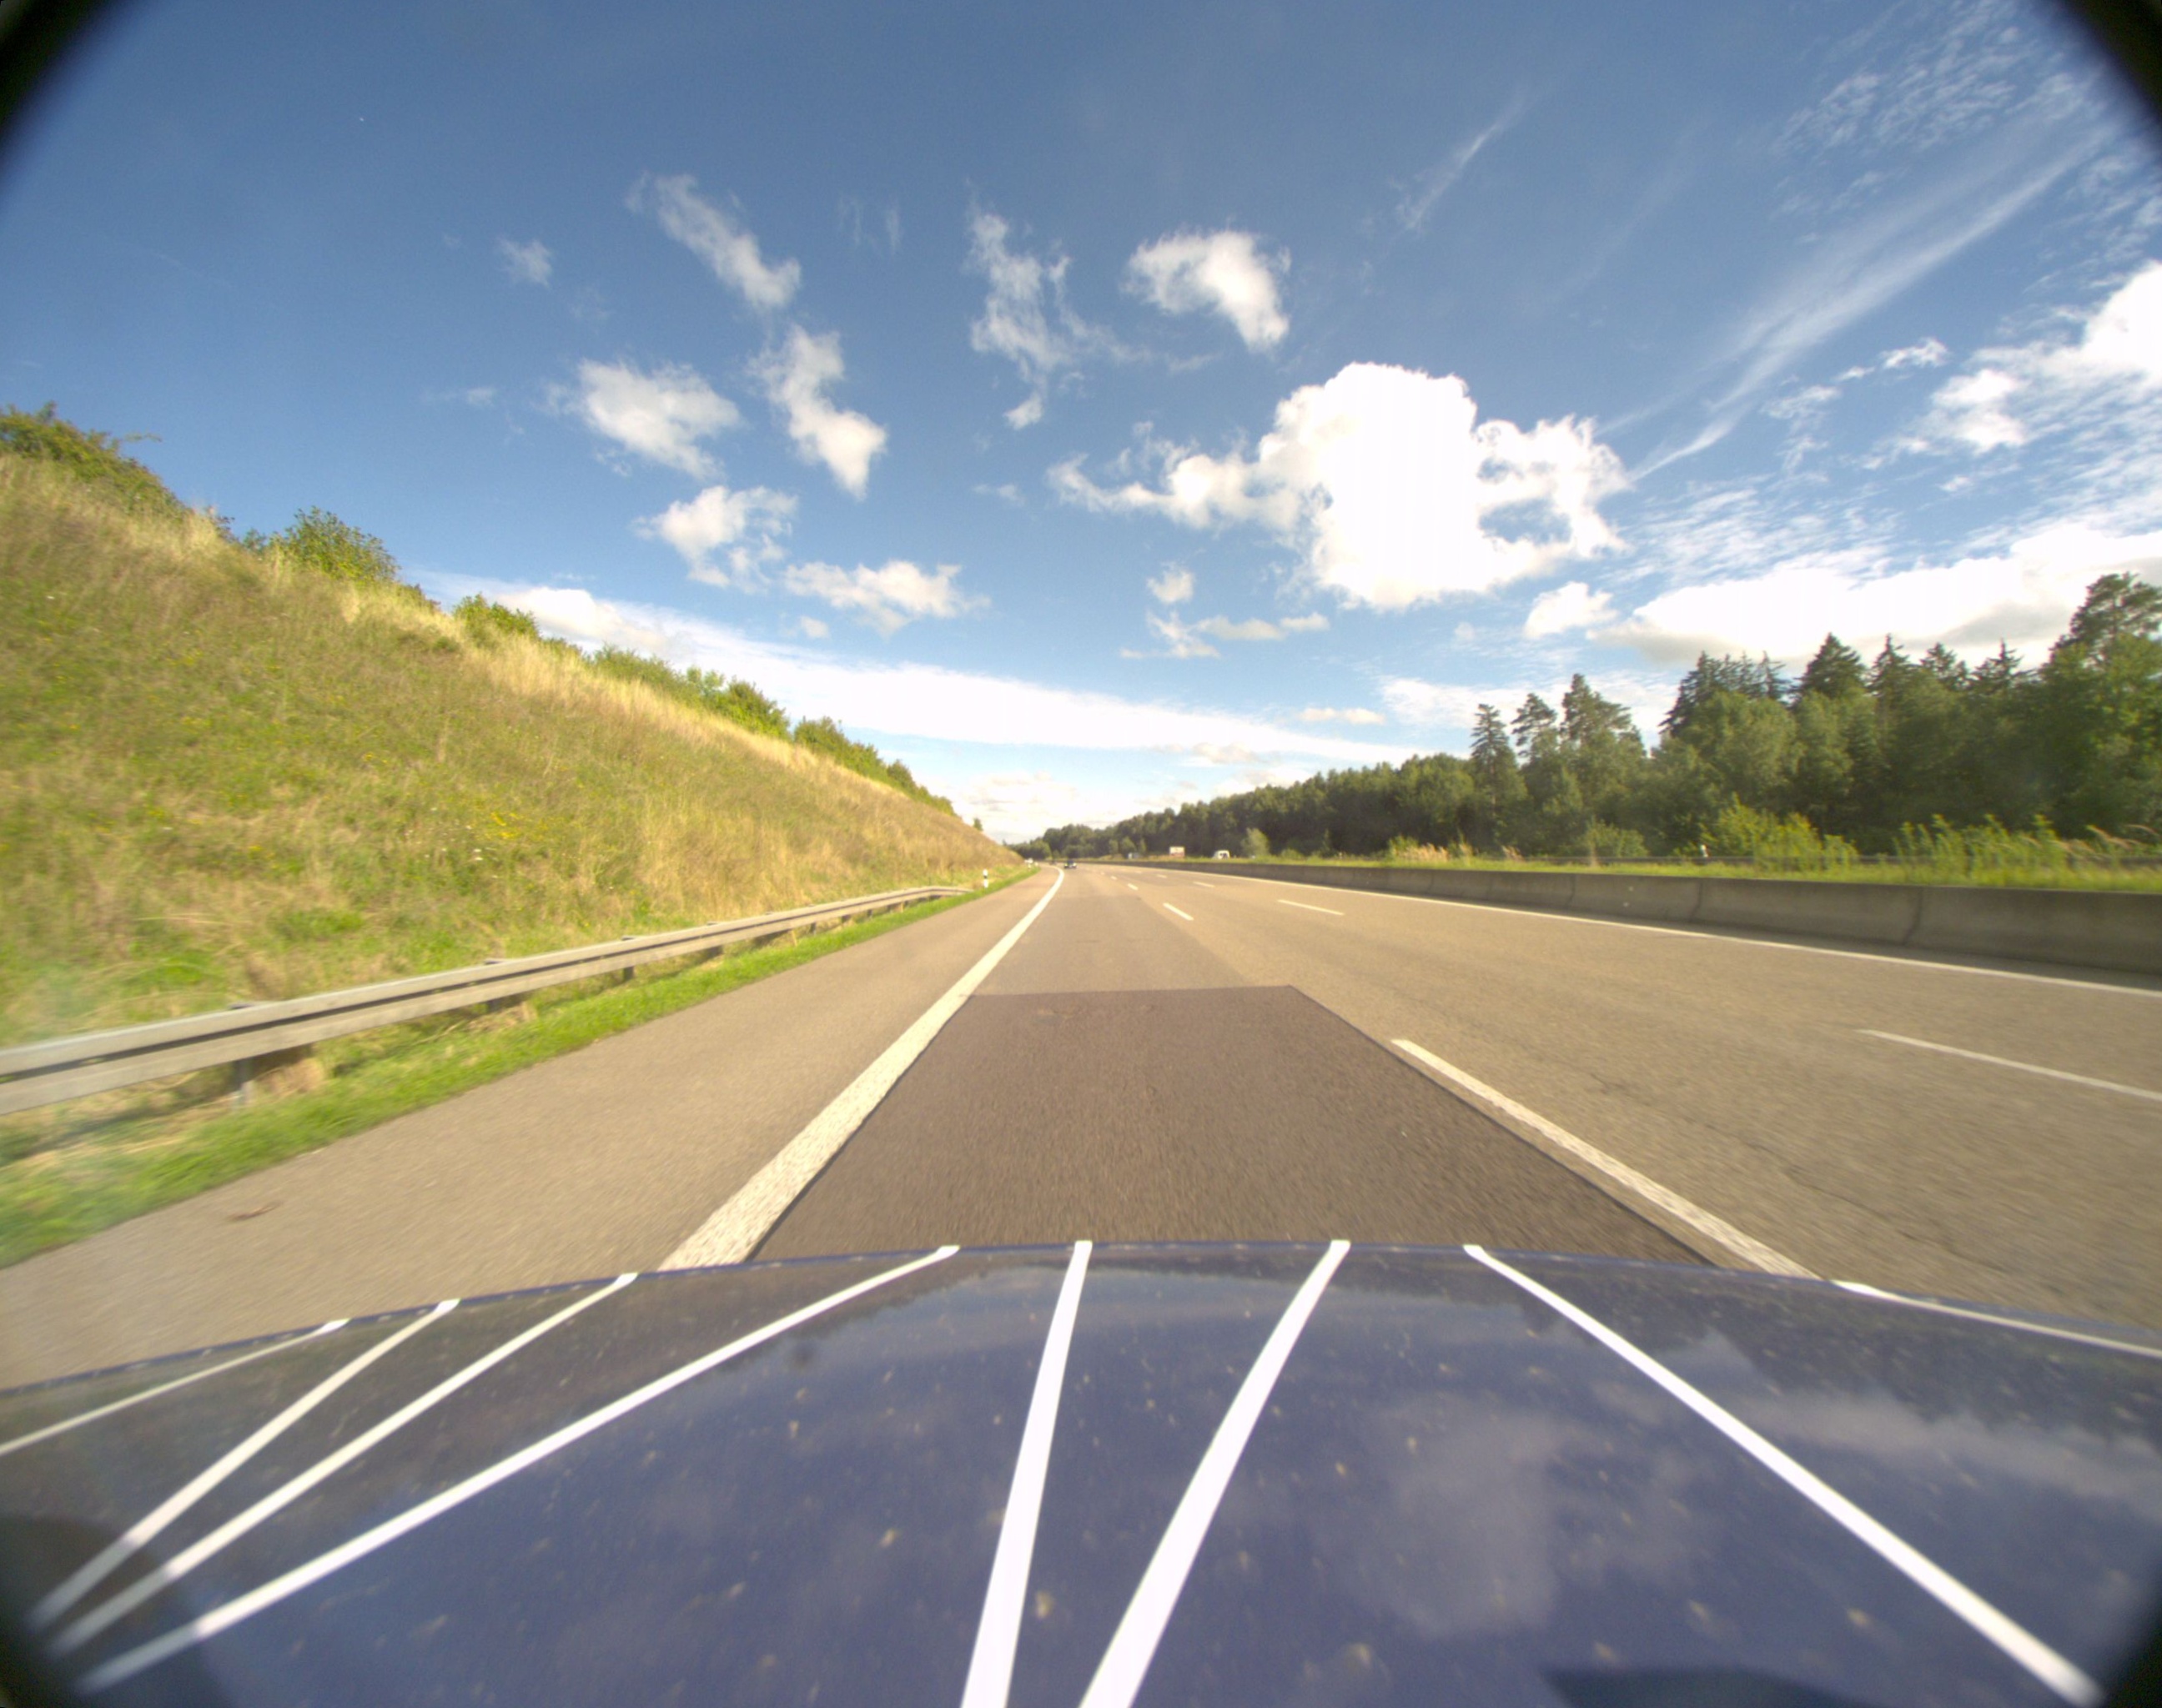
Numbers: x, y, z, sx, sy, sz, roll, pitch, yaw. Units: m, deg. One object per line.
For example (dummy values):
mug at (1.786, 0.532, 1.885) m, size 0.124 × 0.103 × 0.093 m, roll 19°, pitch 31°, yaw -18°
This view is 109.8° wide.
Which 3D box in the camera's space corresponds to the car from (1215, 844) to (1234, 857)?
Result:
car at (22.416, -0.525, 118.896) m, size 1.999 × 2.002 × 5.386 m, roll -2°, pitch 0°, yaw 0°

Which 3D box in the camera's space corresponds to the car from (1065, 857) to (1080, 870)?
car at (-1.376, 1.491, 120.833) m, size 1.999 × 1.827 × 3.998 m, roll -2°, pitch 1°, yaw -4°

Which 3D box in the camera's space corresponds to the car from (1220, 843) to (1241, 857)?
car at (22.434, -0.543, 114.224) m, size 1.999 × 2.002 × 5.386 m, roll -2°, pitch 0°, yaw 0°

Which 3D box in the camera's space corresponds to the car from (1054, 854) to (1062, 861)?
car at (-6.417, 0.973, 210.027) m, size 1.999 × 2.002 × 3.997 m, roll -3°, pitch 1°, yaw -6°
